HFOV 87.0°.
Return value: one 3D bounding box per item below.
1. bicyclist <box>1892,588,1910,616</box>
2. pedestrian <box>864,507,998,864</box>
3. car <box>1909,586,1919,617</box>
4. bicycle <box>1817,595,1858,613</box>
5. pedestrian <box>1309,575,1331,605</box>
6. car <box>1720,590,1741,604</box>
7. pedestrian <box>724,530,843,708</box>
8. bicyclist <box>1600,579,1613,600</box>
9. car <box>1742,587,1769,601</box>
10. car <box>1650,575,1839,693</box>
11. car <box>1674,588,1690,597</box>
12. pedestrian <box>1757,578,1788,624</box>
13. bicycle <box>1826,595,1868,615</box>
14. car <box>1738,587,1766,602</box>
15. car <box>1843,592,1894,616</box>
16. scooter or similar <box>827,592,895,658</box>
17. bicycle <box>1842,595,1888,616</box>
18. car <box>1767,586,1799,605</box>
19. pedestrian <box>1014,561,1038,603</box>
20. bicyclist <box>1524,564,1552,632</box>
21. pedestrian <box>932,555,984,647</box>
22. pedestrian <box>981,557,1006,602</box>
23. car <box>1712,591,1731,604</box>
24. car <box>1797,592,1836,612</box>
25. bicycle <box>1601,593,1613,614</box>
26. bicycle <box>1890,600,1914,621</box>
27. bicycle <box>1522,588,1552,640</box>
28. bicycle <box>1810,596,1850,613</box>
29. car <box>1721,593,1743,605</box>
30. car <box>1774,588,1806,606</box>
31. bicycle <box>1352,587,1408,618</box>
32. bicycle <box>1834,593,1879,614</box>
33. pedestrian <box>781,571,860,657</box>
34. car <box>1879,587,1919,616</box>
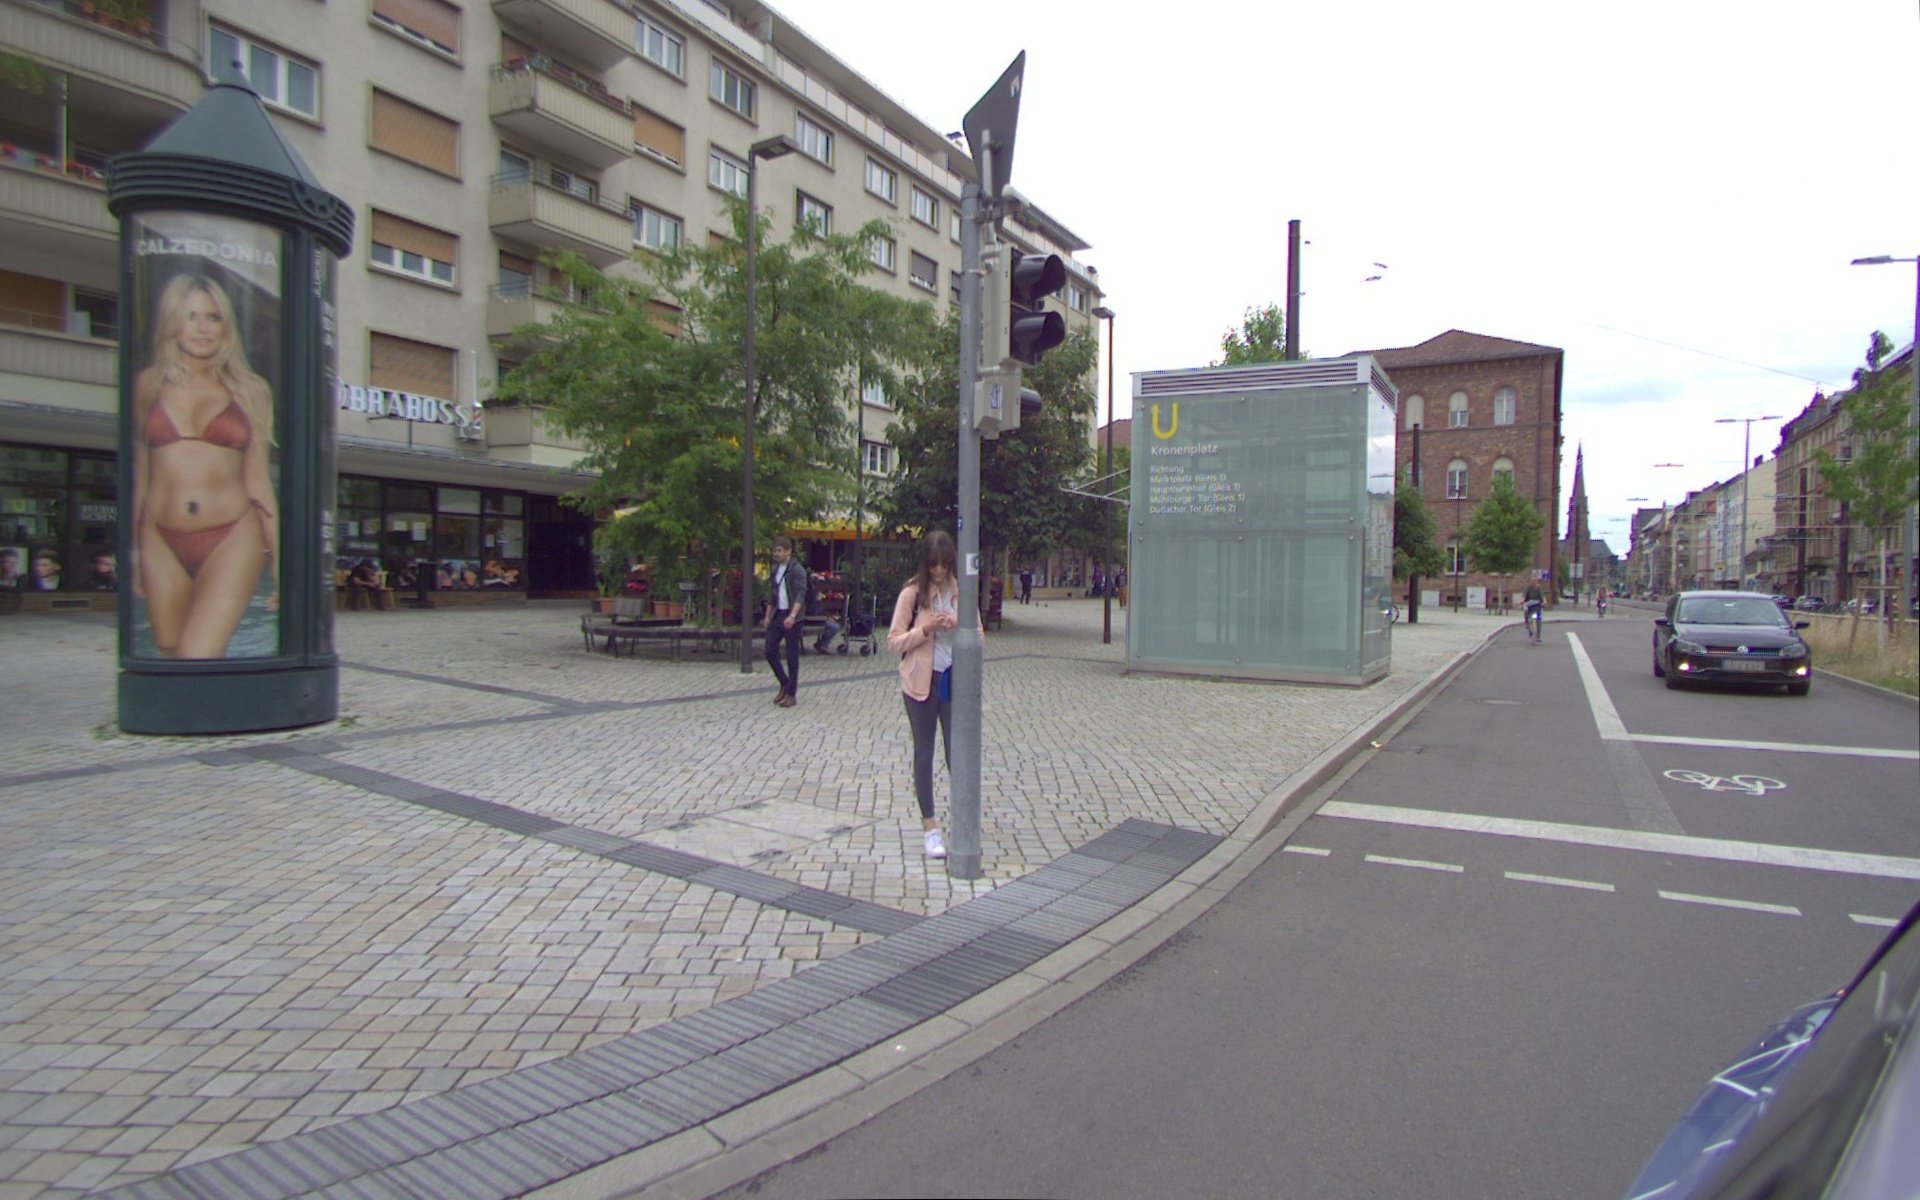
[{"bbox_3d":[49.849,0.106,53.604,0.476,1.424,0.803,2,1,29],"label":"bicyclist"},{"bbox_3d":[-0.145,0.424,5.447,0.518,1.784,0.597,0,0,24],"label":"pedestrian"},{"bbox_3d":[53.664,0.173,54.934,1.909,1.710,5.000,4,3,29],"label":"car"},{"bbox_3d":[68.813,0.311,79.345,2.273,1.218,0.697,4,2,32],"label":"bicycle"},{"bbox_3d":[18.522,-0.526,52.099,0.765,1.473,0.768,3,2,2],"label":"pedestrian"},{"bbox_3d":[98.994,-0.388,130.033,1.696,1.778,3.874,3,2,32],"label":"car"},{"bbox_3d":[-1.918,0.177,11.107,0.710,1.824,1.067,4,3,30],"label":"pedestrian"},{"bbox_3d":[36.765,-0.621,57.540,0.583,1.186,0.655,1,1,31],"label":"bicyclist"},{"bbox_3d":[86.132,-0.644,109.584,1.735,1.483,4.002,2,1,30],"label":"car"},{"bbox_3d":[11.774,0.422,15.428,1.733,1.566,3.613,1,1,29],"label":"car"},{"bbox_3d":[124.486,-1.318,174.508,1.855,1.582,3.956,3,2,31],"label":"car"},{"bbox_3d":[34.610,0.029,43.124,0.865,1.925,0.765,3,1,30],"label":"pedestrian"},{"bbox_3d":[67.477,0.374,76.981,2.273,1.345,0.659,4,2,32],"label":"bicycle"},{"bbox_3d":[88.909,-0.627,113.644,1.816,1.540,4.494,2,1,31],"label":"car"},{"bbox_3d":[62.132,0.271,69.278,1.735,1.507,3.878,2,1,30],"label":"car"},{"bbox_3d":[-1.657,0.398,16.693,0.709,0.960,1.596,1,2,-20],"label":"scooter or similar"},{"bbox_3d":[64.137,0.368,71.743,2.273,1.345,0.659,4,2,32],"label":"bicycle"},{"bbox_3d":[79.130,-0.416,97.356,1.735,1.693,4.002,2,1,30],"label":"car"},{"bbox_3d":[2.859,-0.768,43.653,0.703,1.773,0.778,2,2,-20],"label":"pedestrian"},{"bbox_3d":[14.907,-0.062,26.099,0.567,1.705,0.784,1,1,35],"label":"bicyclist"},{"bbox_3d":[-0.038,0.008,19.400,0.621,1.705,0.862,3,2,27],"label":"pedestrian"},{"bbox_3d":[1.406,-0.875,42.909,0.834,1.909,0.777,0,0,-20],"label":"pedestrian"},{"bbox_3d":[104.190,-0.383,138.561,1.693,1.692,4.133,0,1,32],"label":"car"},{"bbox_3d":[71.665,0.141,84.735,1.735,1.552,4.180,2,1,30],"label":"car"},{"bbox_3d":[36.728,0.195,57.474,0.469,1.173,2.248,1,1,30],"label":"bicycle"},{"bbox_3d":[49.829,0.550,53.554,0.476,1.033,1.892,2,1,29],"label":"bicycle"},{"bbox_3d":[14.906,0.340,26.130,0.521,1.276,1.918,1,1,33],"label":"bicycle"},{"bbox_3d":[69.272,0.317,80.573,2.273,1.218,0.697,4,2,32],"label":"bicycle"},{"bbox_3d":[96.328,-0.167,126.288,1.637,1.398,3.403,2,1,28],"label":"car"},{"bbox_3d":[76.585,-0.272,93.426,1.736,1.507,3.876,2,1,31],"label":"car"},{"bbox_3d":[16.141,0.090,38.925,1.913,1.137,0.635,0,0,43],"label":"bicycle"},{"bbox_3d":[65.494,0.250,73.963,2.273,1.345,0.659,4,2,32],"label":"bicycle"},{"bbox_3d":[-2.273,0.212,16.432,1.042,1.313,0.723,3,2,37],"label":"pedestrian"},{"bbox_3d":[58.547,0.085,62.203,1.803,1.711,4.982,2,1,28],"label":"car"}]
